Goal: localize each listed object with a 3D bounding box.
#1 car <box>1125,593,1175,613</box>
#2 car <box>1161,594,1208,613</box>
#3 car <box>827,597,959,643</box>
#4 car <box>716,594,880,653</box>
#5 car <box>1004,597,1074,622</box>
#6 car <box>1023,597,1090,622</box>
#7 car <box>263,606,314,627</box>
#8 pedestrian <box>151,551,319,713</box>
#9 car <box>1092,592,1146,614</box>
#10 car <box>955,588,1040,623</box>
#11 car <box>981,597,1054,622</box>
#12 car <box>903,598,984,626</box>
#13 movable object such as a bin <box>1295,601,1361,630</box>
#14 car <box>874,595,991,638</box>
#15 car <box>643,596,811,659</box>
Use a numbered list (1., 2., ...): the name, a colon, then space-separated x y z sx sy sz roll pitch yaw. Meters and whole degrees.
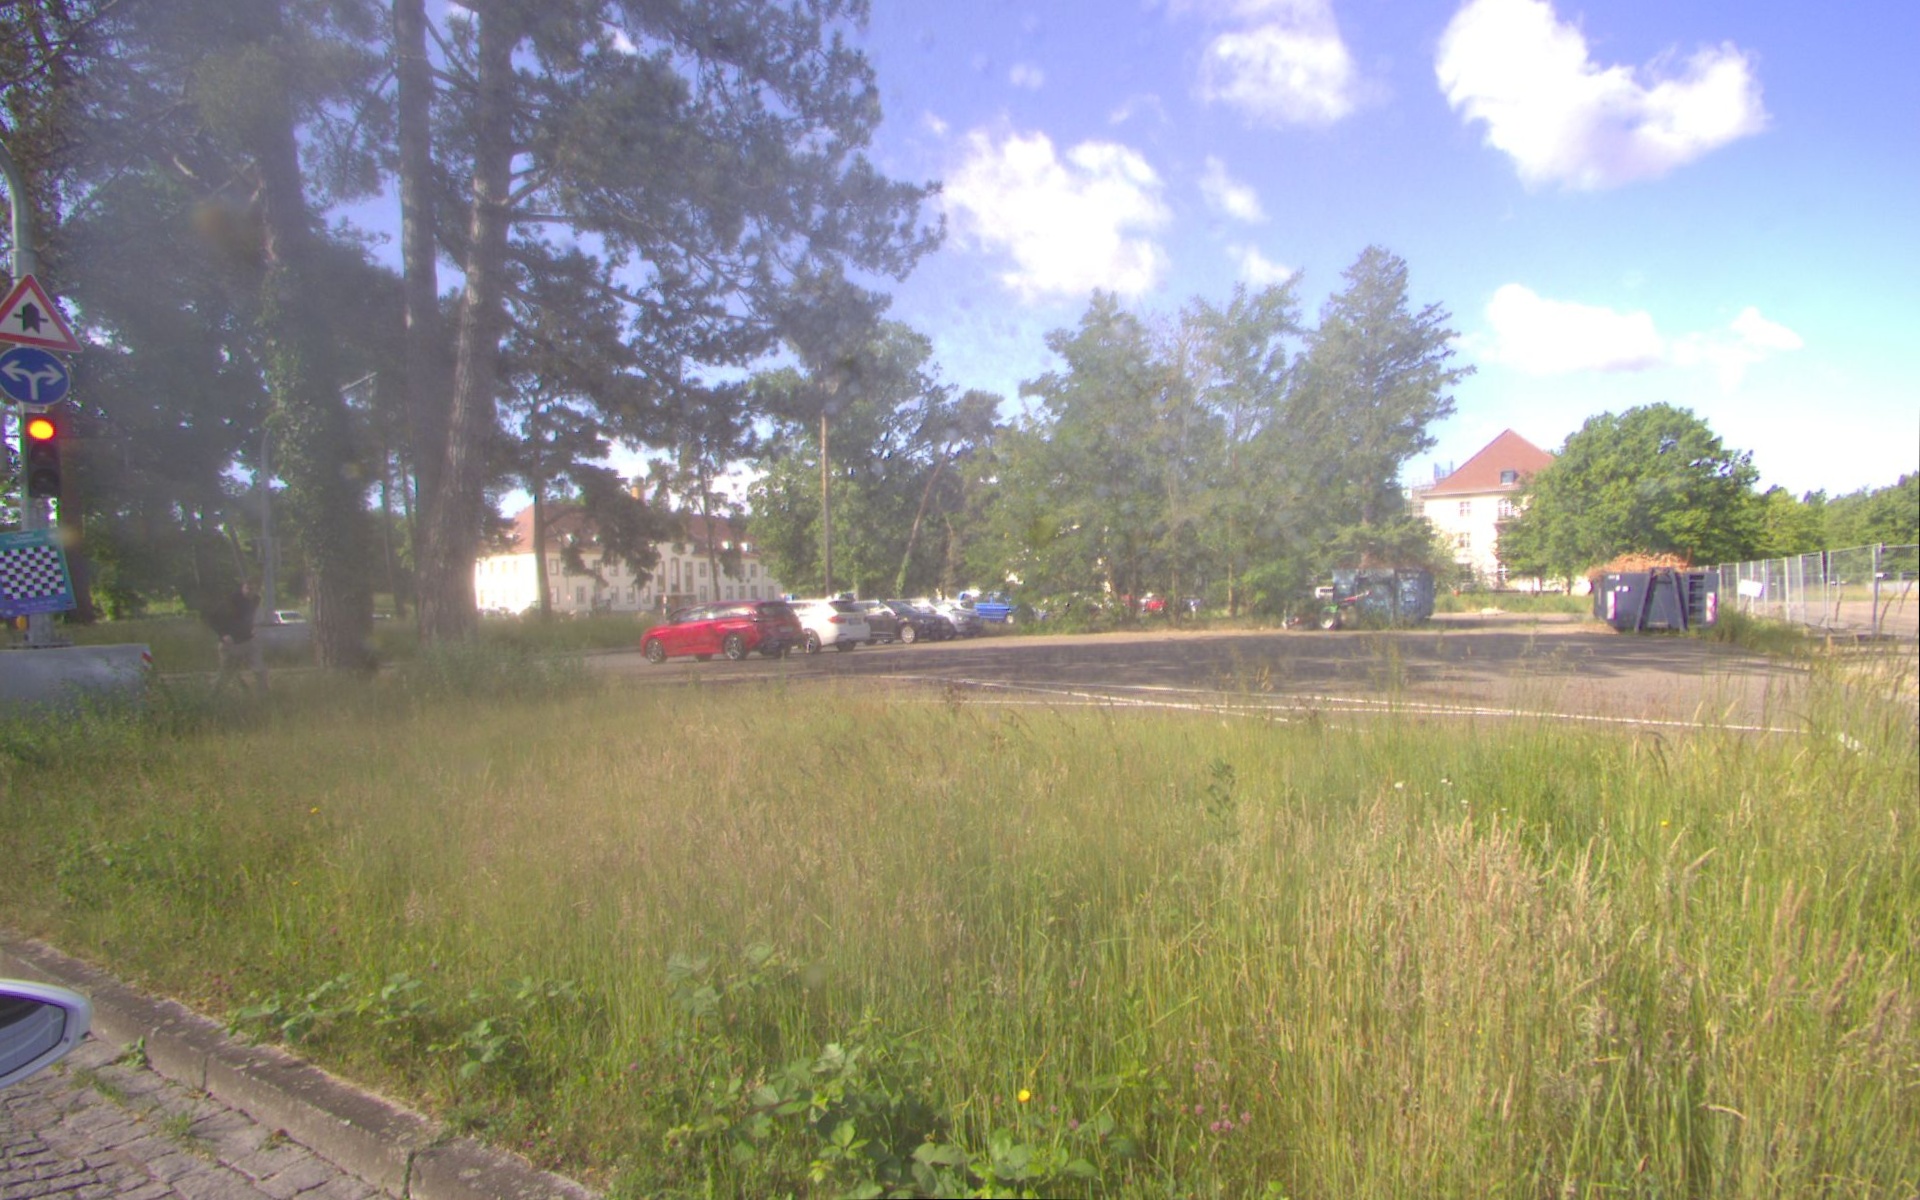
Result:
1. car: 15.643 0.293 82.628 3.681 1.568 1.705 -1 -1 32
2. car: 19.623 0.326 87.544 3.681 1.568 1.705 -1 -1 32
3. car: -2.149 0.643 31.877 3.987 1.333 1.612 -1 1 33
4. car: -4.432 0.642 27.212 4.179 1.396 1.776 -3 0 30
5. car: 5.042 0.615 64.120 4.180 1.568 1.720 -1 -1 32
6. car: 6.454 0.644 66.975 4.180 1.568 1.720 -1 -1 32
7. car: -53.035 1.312 79.073 4.102 1.603 1.823 -1 1 32
8. pedestrian: -8.597 0.363 11.919 1.043 1.820 1.170 -1 1 15
9. car: 11.985 0.225 75.729 3.681 1.568 1.705 -1 -1 32
10. car: 2.177 0.366 59.194 4.676 1.973 1.982 -1 -1 32
11. car: 3.499 0.613 61.518 4.180 1.443 1.720 -1 -1 32
12. car: -0.923 0.678 55.020 4.180 1.487 1.720 -1 -1 32
13. movable object such as a bin: 10.494 0.434 28.535 1.696 0.763 1.143 -1 1 25
14. car: -0.973 0.586 34.486 3.739 1.390 1.720 -1 -1 34
15. car: -5.772 0.698 24.667 4.071 1.417 1.652 -2 -1 32
